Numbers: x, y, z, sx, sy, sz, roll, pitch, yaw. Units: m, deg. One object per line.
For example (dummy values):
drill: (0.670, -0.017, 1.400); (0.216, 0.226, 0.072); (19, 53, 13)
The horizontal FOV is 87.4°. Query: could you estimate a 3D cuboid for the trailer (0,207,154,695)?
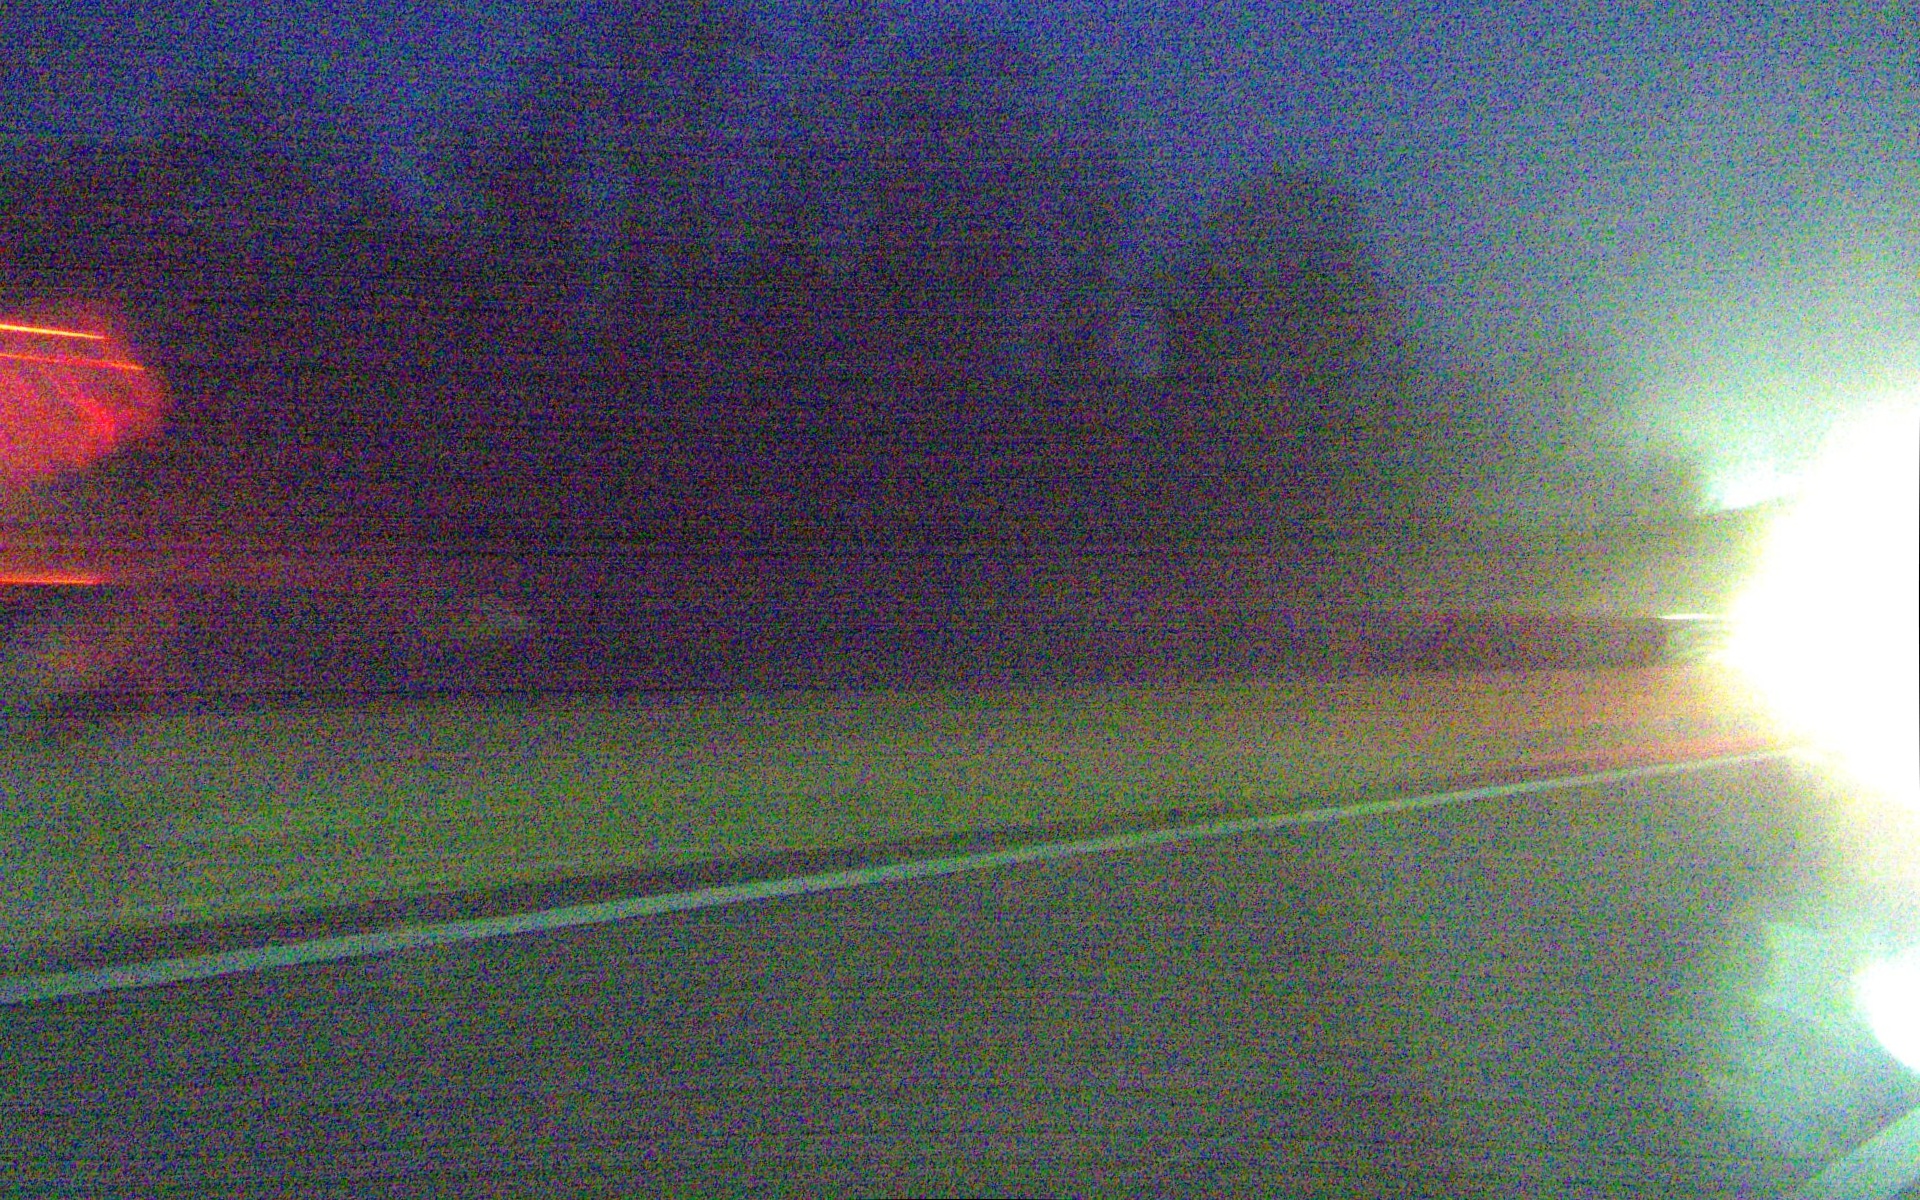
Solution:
trailer: (-17.707, -2.012, 10.515); (14.007, 5.973, 2.894); (2, 0, -31)
